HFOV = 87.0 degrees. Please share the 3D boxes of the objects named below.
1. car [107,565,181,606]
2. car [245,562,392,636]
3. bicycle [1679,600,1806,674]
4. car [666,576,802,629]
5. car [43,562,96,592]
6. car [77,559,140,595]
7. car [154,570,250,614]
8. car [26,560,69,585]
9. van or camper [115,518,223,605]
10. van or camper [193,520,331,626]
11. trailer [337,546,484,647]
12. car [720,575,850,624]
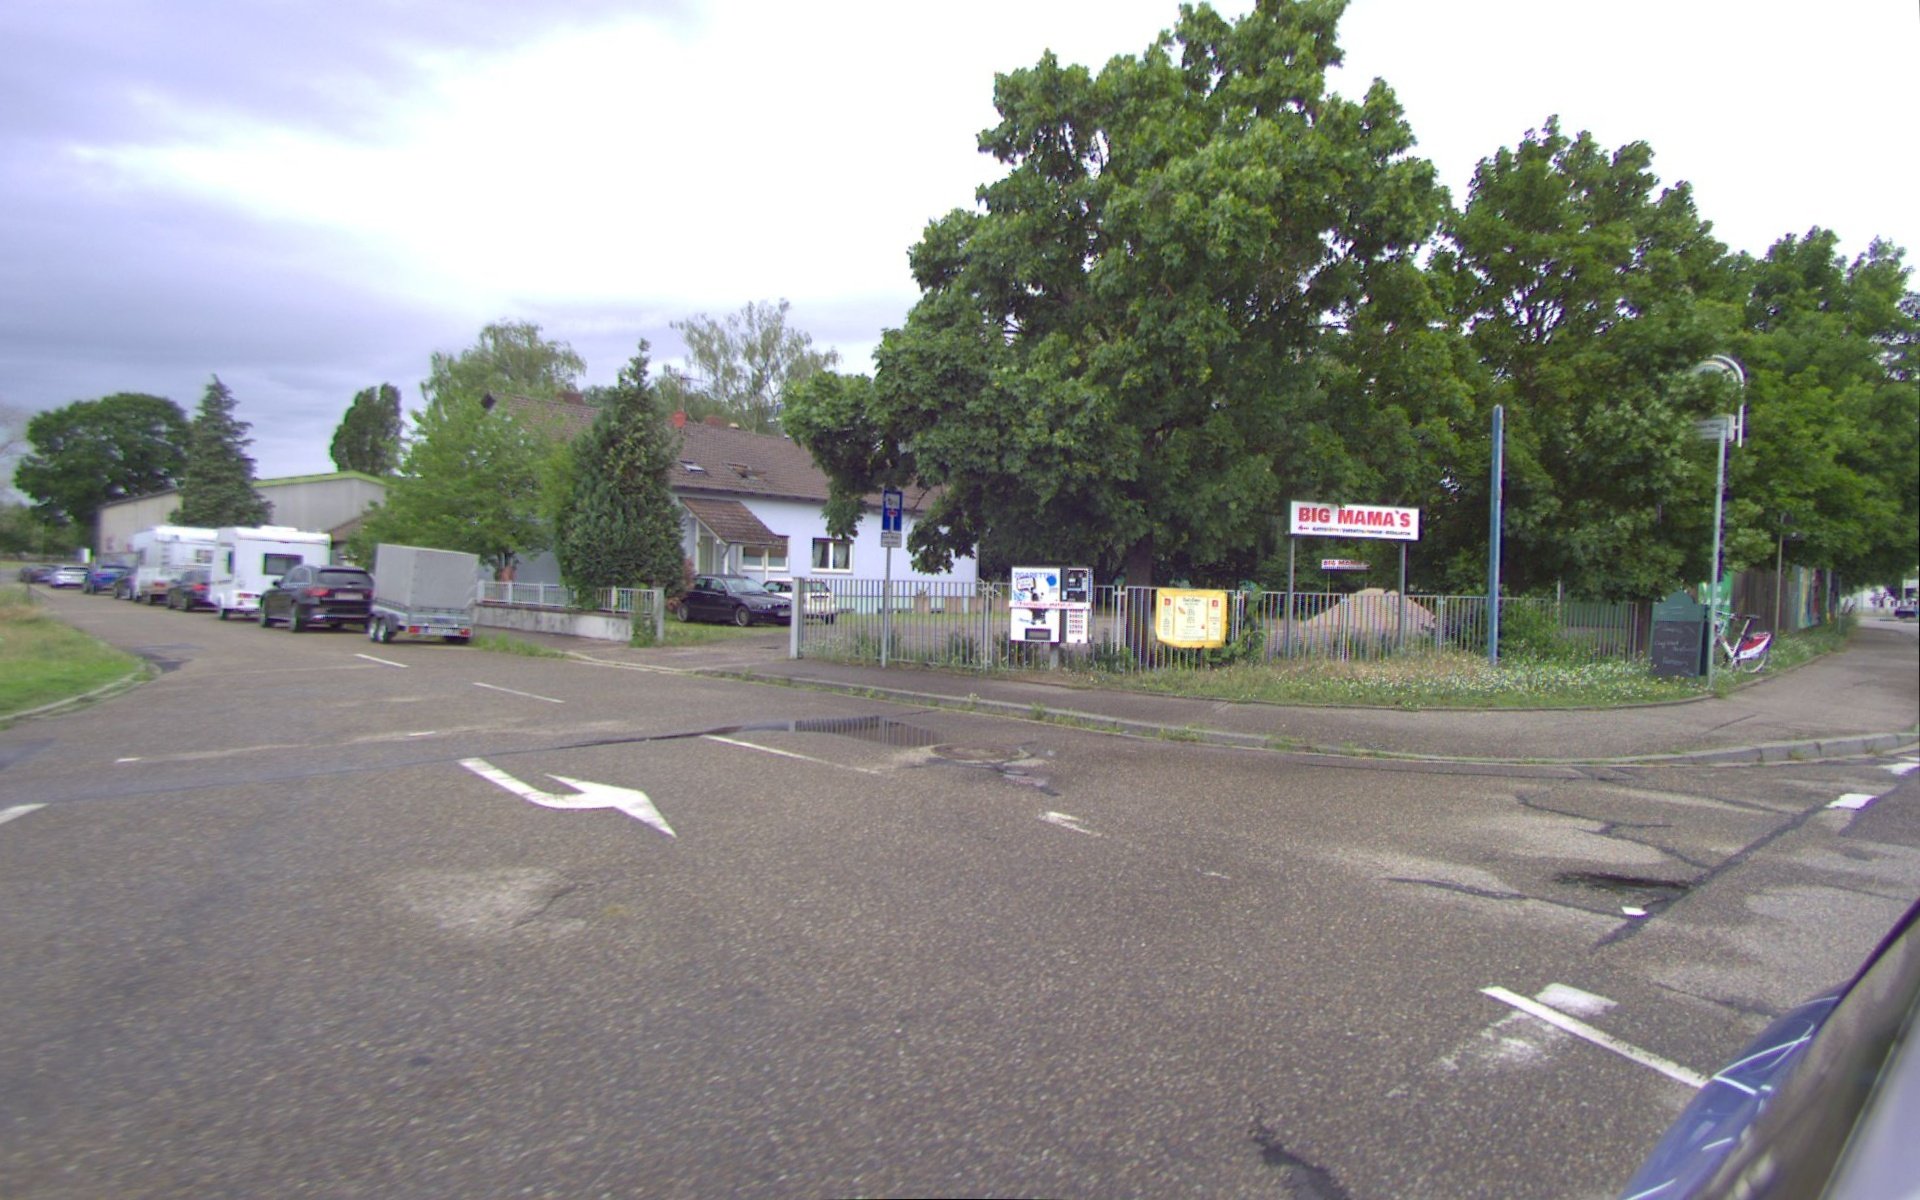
[{"bbox_3d":[-35.744,-0.640,44.316,3.922,1.594,1.968,2,-2,44],"label":"car"},{"bbox_3d":[-16.178,-0.066,25.435,4.578,1.660,1.969,2,0,43],"label":"car"},{"bbox_3d":[12.723,0.589,16.453,1.911,1.125,0.800,1,0,-24],"label":"bicycle"},{"bbox_3d":[-6.696,0.034,29.819,3.980,1.428,1.843,2,0,39],"label":"car"},{"bbox_3d":[-53.529,-1.414,60.820,4.578,1.594,1.968,2,-2,44],"label":"car"},{"bbox_3d":[-43.839,-1.195,52.070,4.271,1.594,1.968,2,-2,44],"label":"car"},{"bbox_3d":[-26.119,-0.295,34.819,4.275,1.402,1.883,2,1,43],"label":"car"},{"bbox_3d":[-66.437,-1.984,73.653,4.514,1.594,1.968,2,-2,44],"label":"car"},{"bbox_3d":[-31.191,-1.494,39.829,6.051,3.151,2.236,2,0,42],"label":"van or camper"},{"bbox_3d":[-20.840,-0.789,30.120,5.165,2.868,2.377,2,0,45],"label":"van or camper"},{"bbox_3d":[-12.134,-0.116,22.258,3.986,2.039,1.618,2,0,43],"label":"trailer"},{"bbox_3d":[-5.602,-0.052,32.111,4.287,1.405,1.808,2,1,42],"label":"car"}]
